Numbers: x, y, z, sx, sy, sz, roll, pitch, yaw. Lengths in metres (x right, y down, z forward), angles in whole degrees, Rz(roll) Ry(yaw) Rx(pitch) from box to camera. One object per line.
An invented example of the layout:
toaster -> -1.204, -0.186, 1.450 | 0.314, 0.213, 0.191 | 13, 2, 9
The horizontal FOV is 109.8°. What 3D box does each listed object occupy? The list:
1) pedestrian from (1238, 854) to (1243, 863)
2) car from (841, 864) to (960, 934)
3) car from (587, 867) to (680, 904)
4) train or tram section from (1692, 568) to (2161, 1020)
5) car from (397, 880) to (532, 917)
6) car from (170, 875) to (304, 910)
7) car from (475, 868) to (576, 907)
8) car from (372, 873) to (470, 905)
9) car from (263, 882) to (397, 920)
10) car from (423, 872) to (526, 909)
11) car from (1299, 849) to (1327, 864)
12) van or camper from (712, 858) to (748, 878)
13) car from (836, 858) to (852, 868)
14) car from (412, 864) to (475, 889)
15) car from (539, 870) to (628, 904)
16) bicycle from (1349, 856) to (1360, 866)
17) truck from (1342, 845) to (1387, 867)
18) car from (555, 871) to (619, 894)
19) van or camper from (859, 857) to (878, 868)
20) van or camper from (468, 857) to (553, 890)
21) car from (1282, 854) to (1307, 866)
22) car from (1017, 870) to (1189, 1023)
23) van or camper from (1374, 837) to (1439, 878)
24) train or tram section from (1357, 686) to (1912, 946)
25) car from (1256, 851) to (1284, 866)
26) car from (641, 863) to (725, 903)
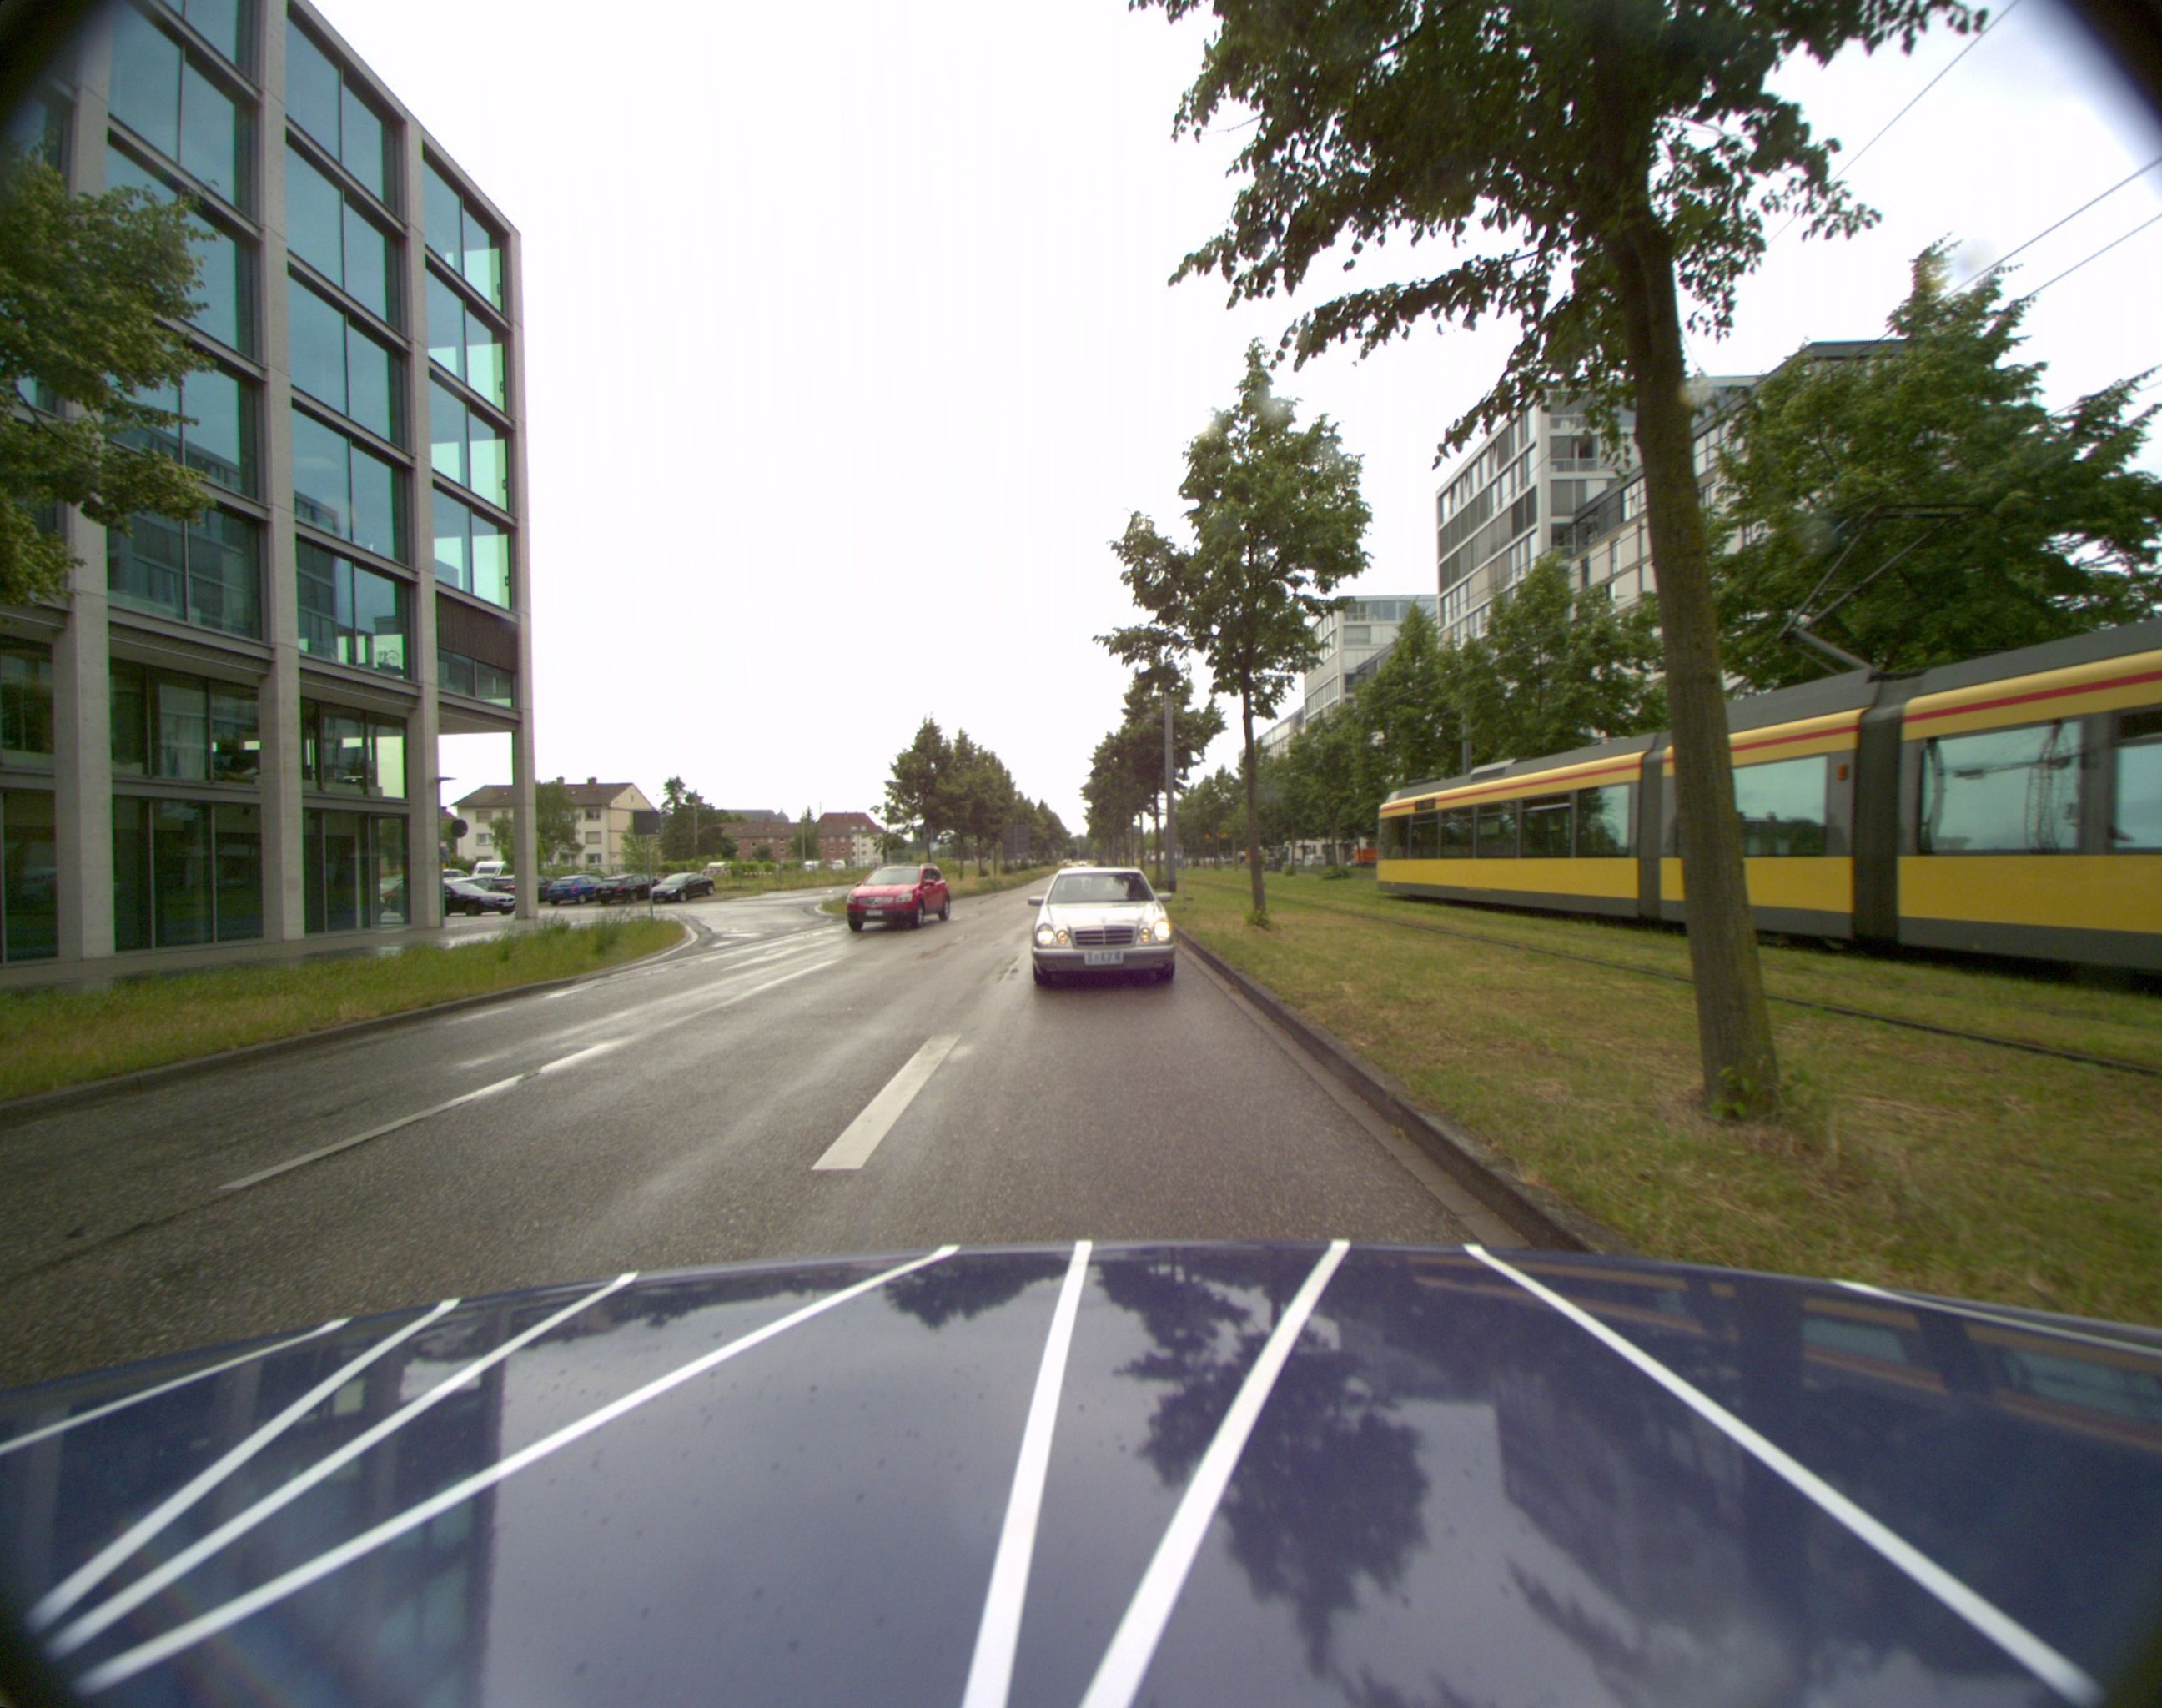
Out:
pedestrian -> 30.367, 0.916, 144.399 | 0.712, 1.681, 0.793 | -2, 0, 3
car -> -4.650, 1.104, 20.208 | 1.798, 1.603, 4.247 | -1, 0, 5
car -> -23.838, 1.638, 40.724 | 1.859, 1.447, 4.555 | -1, 4, 6
train or tram section -> 10.240, -0.529, 3.293 | 3.137, 3.637, 15.064 | -2, 0, 1
car -> -25.713, 1.842, 31.768 | 4.227, 1.429, 1.982 | -2, -2, 6
car -> -36.262, 1.636, 32.703 | 3.995, 1.364, 1.862 | -2, -1, 6
car -> -30.152, 1.778, 41.438 | 1.859, 1.593, 4.415 | -1, 4, 6
car -> -37.594, 1.972, 43.439 | 1.859, 1.592, 4.002 | -2, 0, 6
car -> -31.731, 1.970, 32.165 | 3.995, 1.479, 1.862 | -1, -2, 4
car -> -32.814, 1.942, 41.278 | 1.789, 1.467, 4.229 | -1, 4, 6
car -> 29.937, 0.348, 98.185 | 1.998, 1.841, 5.164 | -1, 0, 0
van or camper -> -49.768, 1.911, 107.919 | 2.314, 2.673, 6.395 | -1, 0, -2
car -> -51.865, 1.917, 166.238 | 2.278, 2.206, 4.758 | -2, 0, -3
car -> -54.200, 1.916, 64.689 | 1.700, 1.993, 4.165 | -1, 0, 2
car -> -26.922, 1.744, 41.311 | 1.859, 1.447, 4.000 | -1, 3, 6
bicycle -> 27.905, 0.697, 77.671 | 0.600, 0.939, 1.758 | -1, 0, 4
truck -> 30.284, 0.217, 81.379 | 2.432, 2.278, 6.309 | -1, 0, 0
car -> -38.349, 2.183, 59.148 | 1.859, 1.592, 4.235 | -1, 0, 6
van or camper -> -45.268, 1.780, 161.983 | 2.208, 2.294, 6.147 | -3, 0, -2
van or camper -> -54.362, 1.793, 72.681 | 2.914, 2.976, 6.777 | -1, 0, 1
car -> 29.923, 0.836, 106.682 | 2.150, 1.702, 4.464 | -1, 0, 0
car -> 0.225, 1.008, 10.181 | 1.738, 1.451, 4.607 | -2, 0, 0
van or camper -> 20.671, 0.211, 48.558 | 1.914, 2.396, 5.402 | -1, 0, 1
train or tram section -> 10.388, -0.518, 17.612 | 3.137, 3.637, 13.406 | -2, 0, 1
car -> 19.746, 0.426, 79.593 | 1.867, 1.515, 4.479 | -1, 0, 1
car -> -21.157, 1.497, 40.553 | 1.858, 1.573, 3.999 | -2, 5, 8
